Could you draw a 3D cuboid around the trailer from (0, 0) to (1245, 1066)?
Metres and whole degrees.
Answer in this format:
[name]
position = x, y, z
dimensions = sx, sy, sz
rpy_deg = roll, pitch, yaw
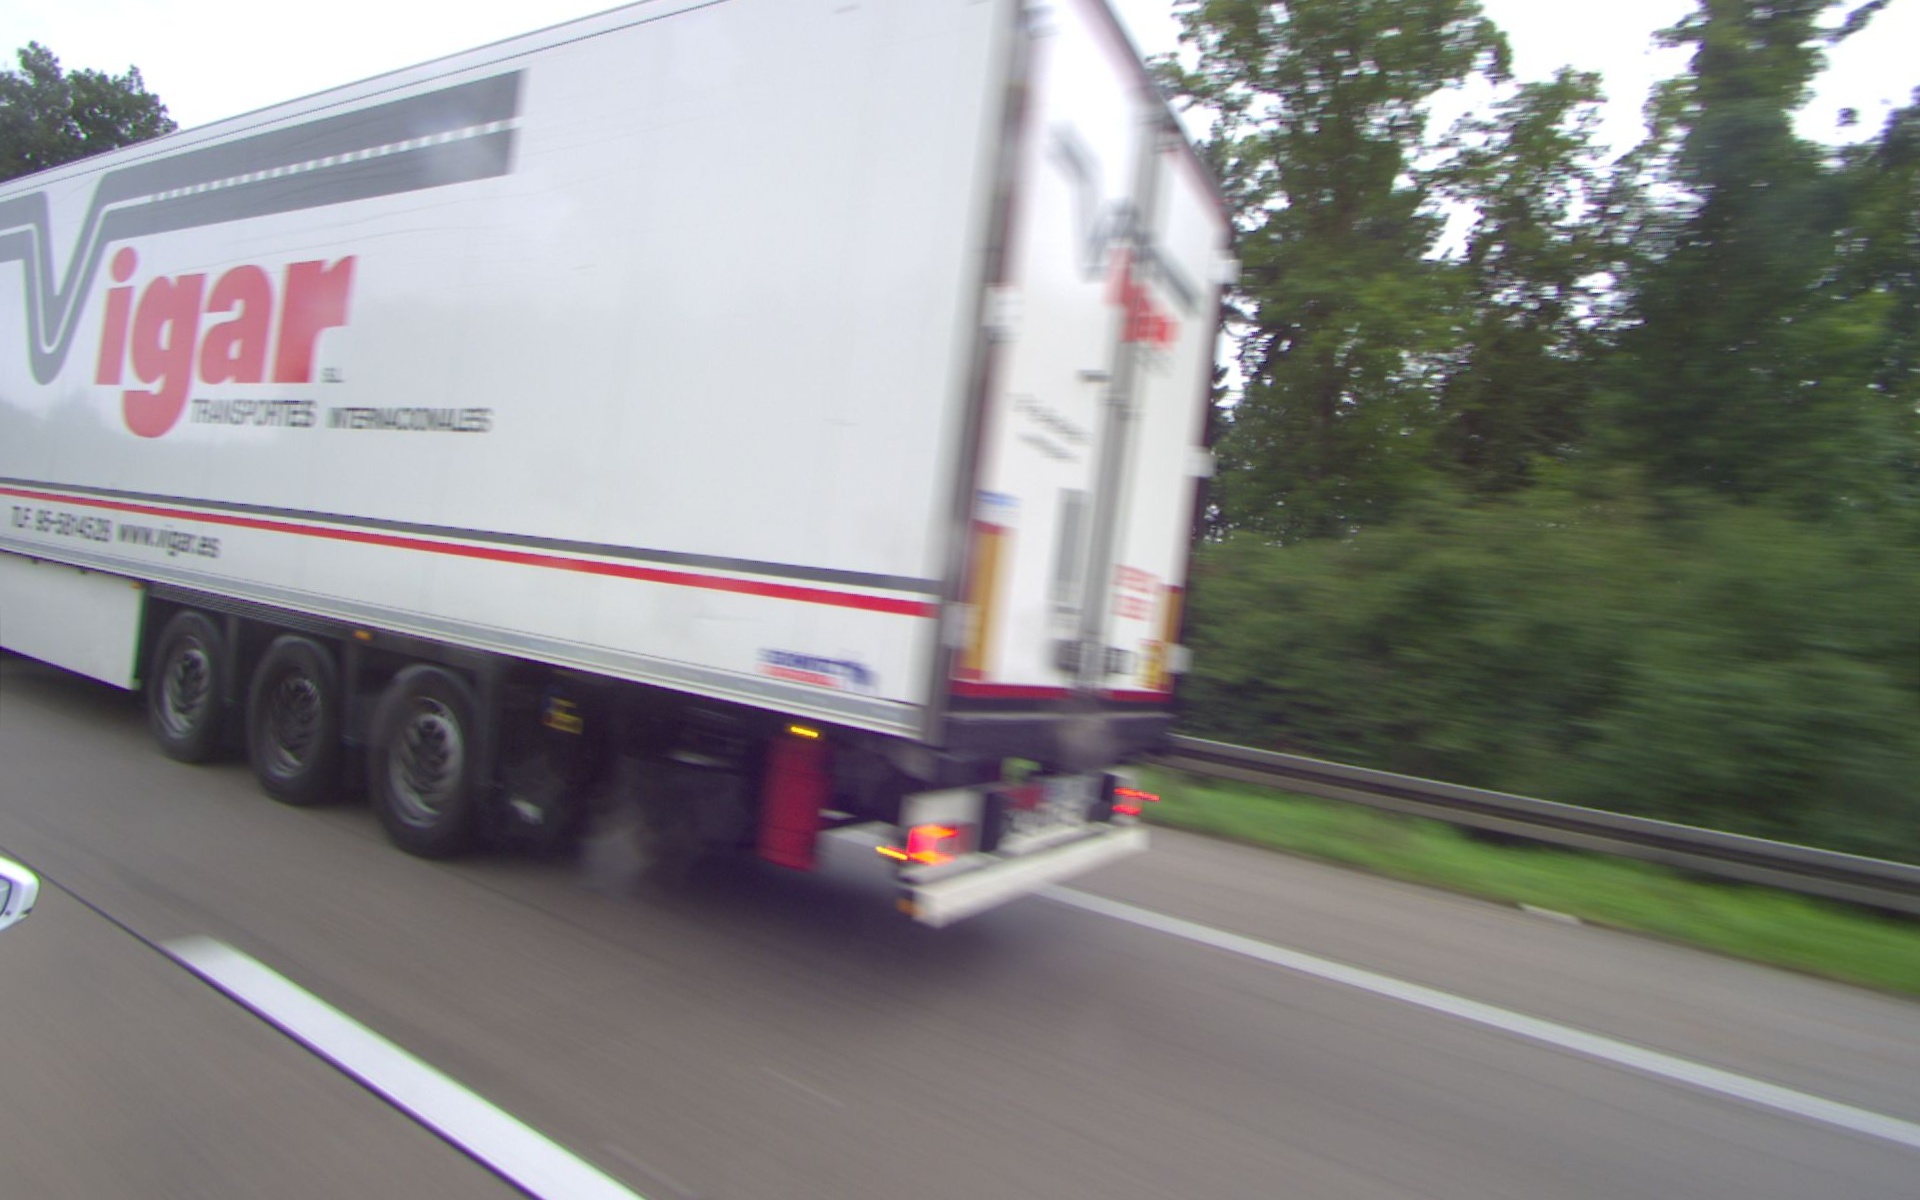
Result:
[trailer]
position = -5.071, -1.079, 7.903
dimensions = 13.451, 4.152, 2.740
rpy_deg = 7, -1, 30

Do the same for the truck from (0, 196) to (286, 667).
[truck]
position = -10.849, -1.745, 11.305
dimensions = 5.867, 4.152, 2.804
rpy_deg = 7, -1, 30
